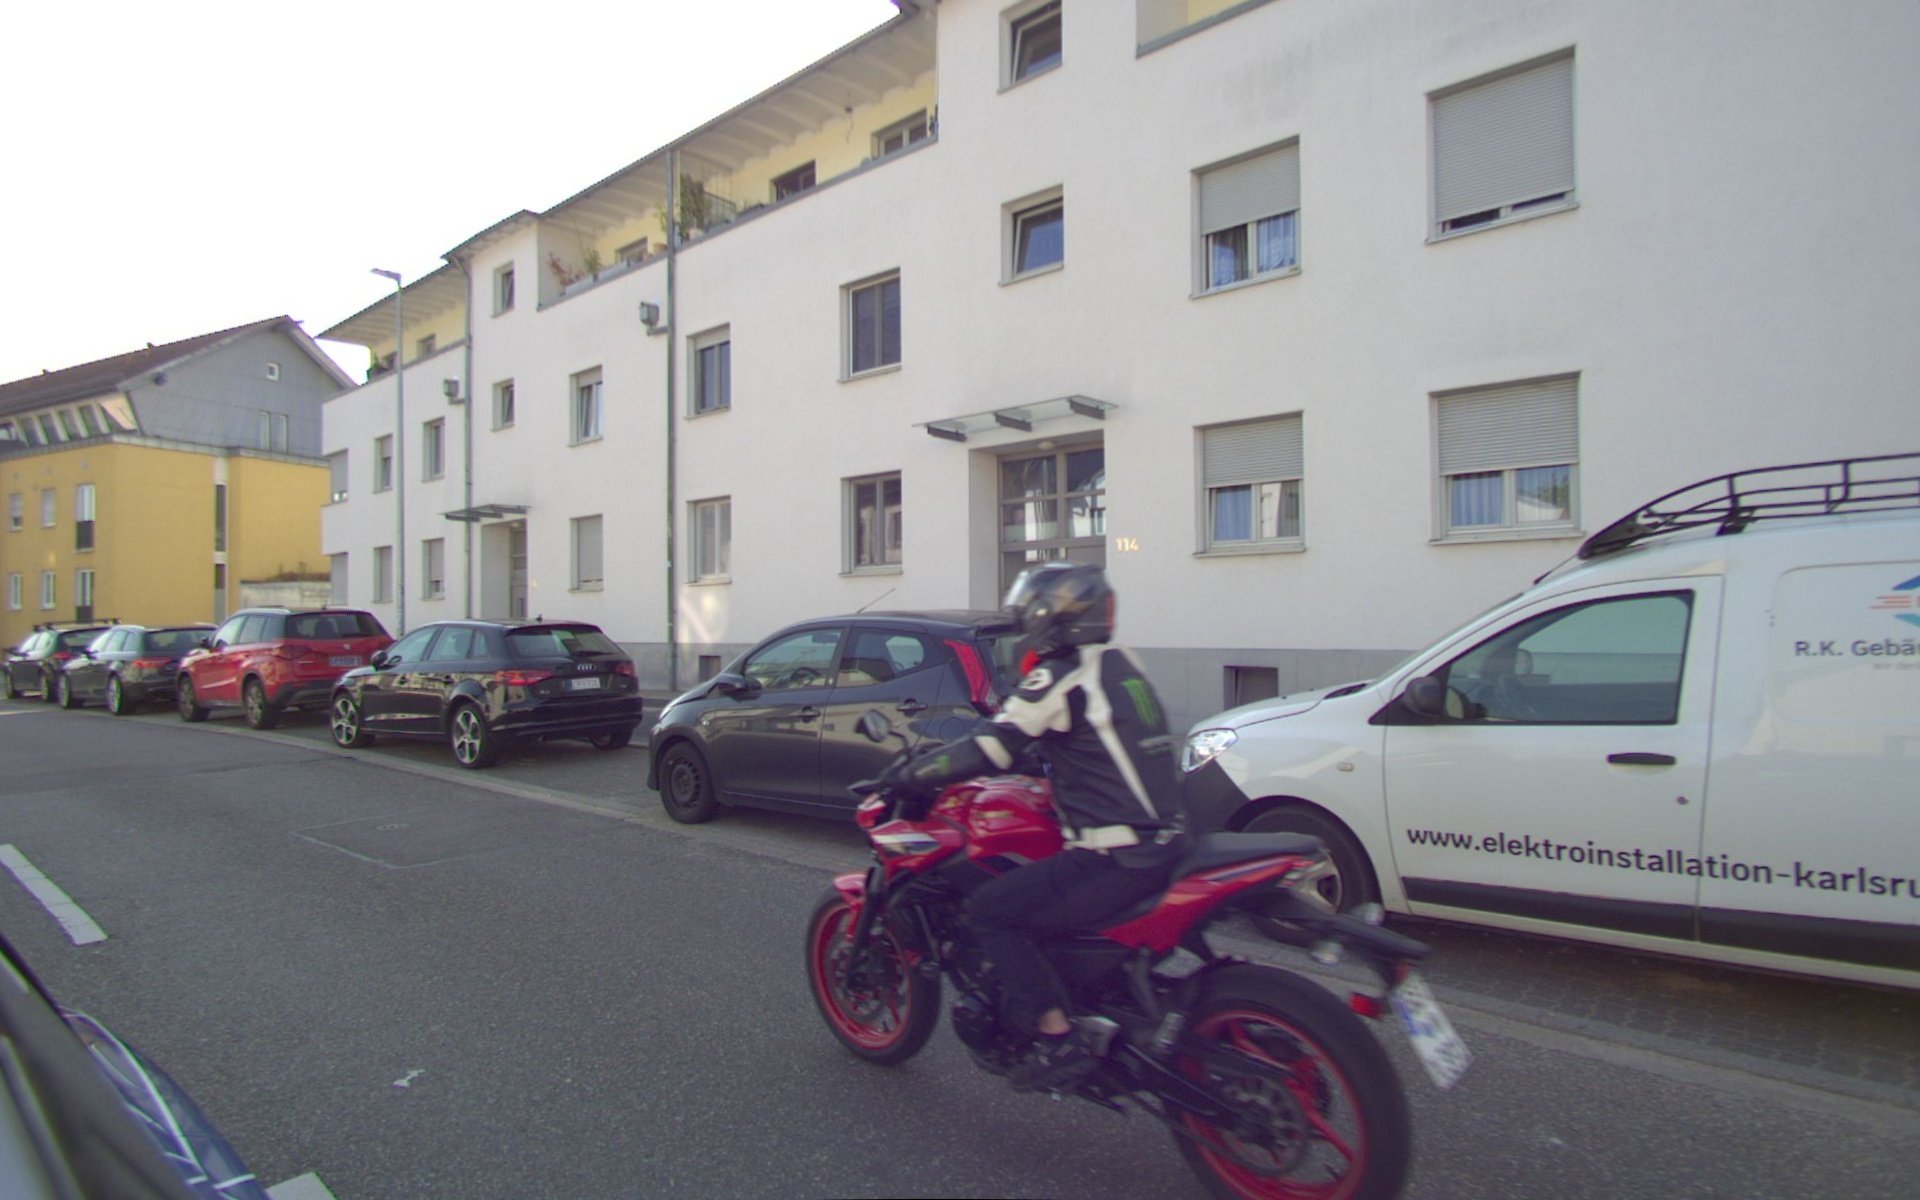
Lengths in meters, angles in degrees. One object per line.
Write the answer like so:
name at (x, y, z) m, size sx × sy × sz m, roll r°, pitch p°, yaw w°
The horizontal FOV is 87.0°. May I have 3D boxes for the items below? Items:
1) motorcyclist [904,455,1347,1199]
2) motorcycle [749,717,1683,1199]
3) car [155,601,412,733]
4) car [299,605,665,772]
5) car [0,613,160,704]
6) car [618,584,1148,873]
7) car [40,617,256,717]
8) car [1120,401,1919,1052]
motorcyclist at (0.426, 0.549, 2.603) m, size 0.843 × 1.664 × 0.761 m, roll -2°, pitch -2°, yaw 40°
motorcycle at (0.451, 0.886, 2.576) m, size 2.198 × 0.992 × 0.760 m, roll -2°, pitch -2°, yaw 41°
car at (-9.833, 0.881, 14.603) m, size 4.254 × 1.634 × 1.712 m, roll -1°, pitch 0°, yaw 36°
car at (-5.275, 0.846, 10.979) m, size 4.253 × 1.489 × 1.712 m, roll -2°, pitch -1°, yaw 35°
car at (-18.386, 1.157, 20.904) m, size 4.168 × 1.634 × 1.761 m, roll -2°, pitch 1°, yaw 35°
car at (-0.660, 0.688, 6.869) m, size 3.509 × 1.476 × 1.478 m, roll -2°, pitch 0°, yaw 39°
car at (-14.100, 1.090, 17.494) m, size 4.492 × 1.489 × 1.712 m, roll -2°, pitch 0°, yaw 35°
car at (3.035, 0.394, 4.070) m, size 4.433 × 1.975 × 1.710 m, roll -2°, pitch -1°, yaw 38°
